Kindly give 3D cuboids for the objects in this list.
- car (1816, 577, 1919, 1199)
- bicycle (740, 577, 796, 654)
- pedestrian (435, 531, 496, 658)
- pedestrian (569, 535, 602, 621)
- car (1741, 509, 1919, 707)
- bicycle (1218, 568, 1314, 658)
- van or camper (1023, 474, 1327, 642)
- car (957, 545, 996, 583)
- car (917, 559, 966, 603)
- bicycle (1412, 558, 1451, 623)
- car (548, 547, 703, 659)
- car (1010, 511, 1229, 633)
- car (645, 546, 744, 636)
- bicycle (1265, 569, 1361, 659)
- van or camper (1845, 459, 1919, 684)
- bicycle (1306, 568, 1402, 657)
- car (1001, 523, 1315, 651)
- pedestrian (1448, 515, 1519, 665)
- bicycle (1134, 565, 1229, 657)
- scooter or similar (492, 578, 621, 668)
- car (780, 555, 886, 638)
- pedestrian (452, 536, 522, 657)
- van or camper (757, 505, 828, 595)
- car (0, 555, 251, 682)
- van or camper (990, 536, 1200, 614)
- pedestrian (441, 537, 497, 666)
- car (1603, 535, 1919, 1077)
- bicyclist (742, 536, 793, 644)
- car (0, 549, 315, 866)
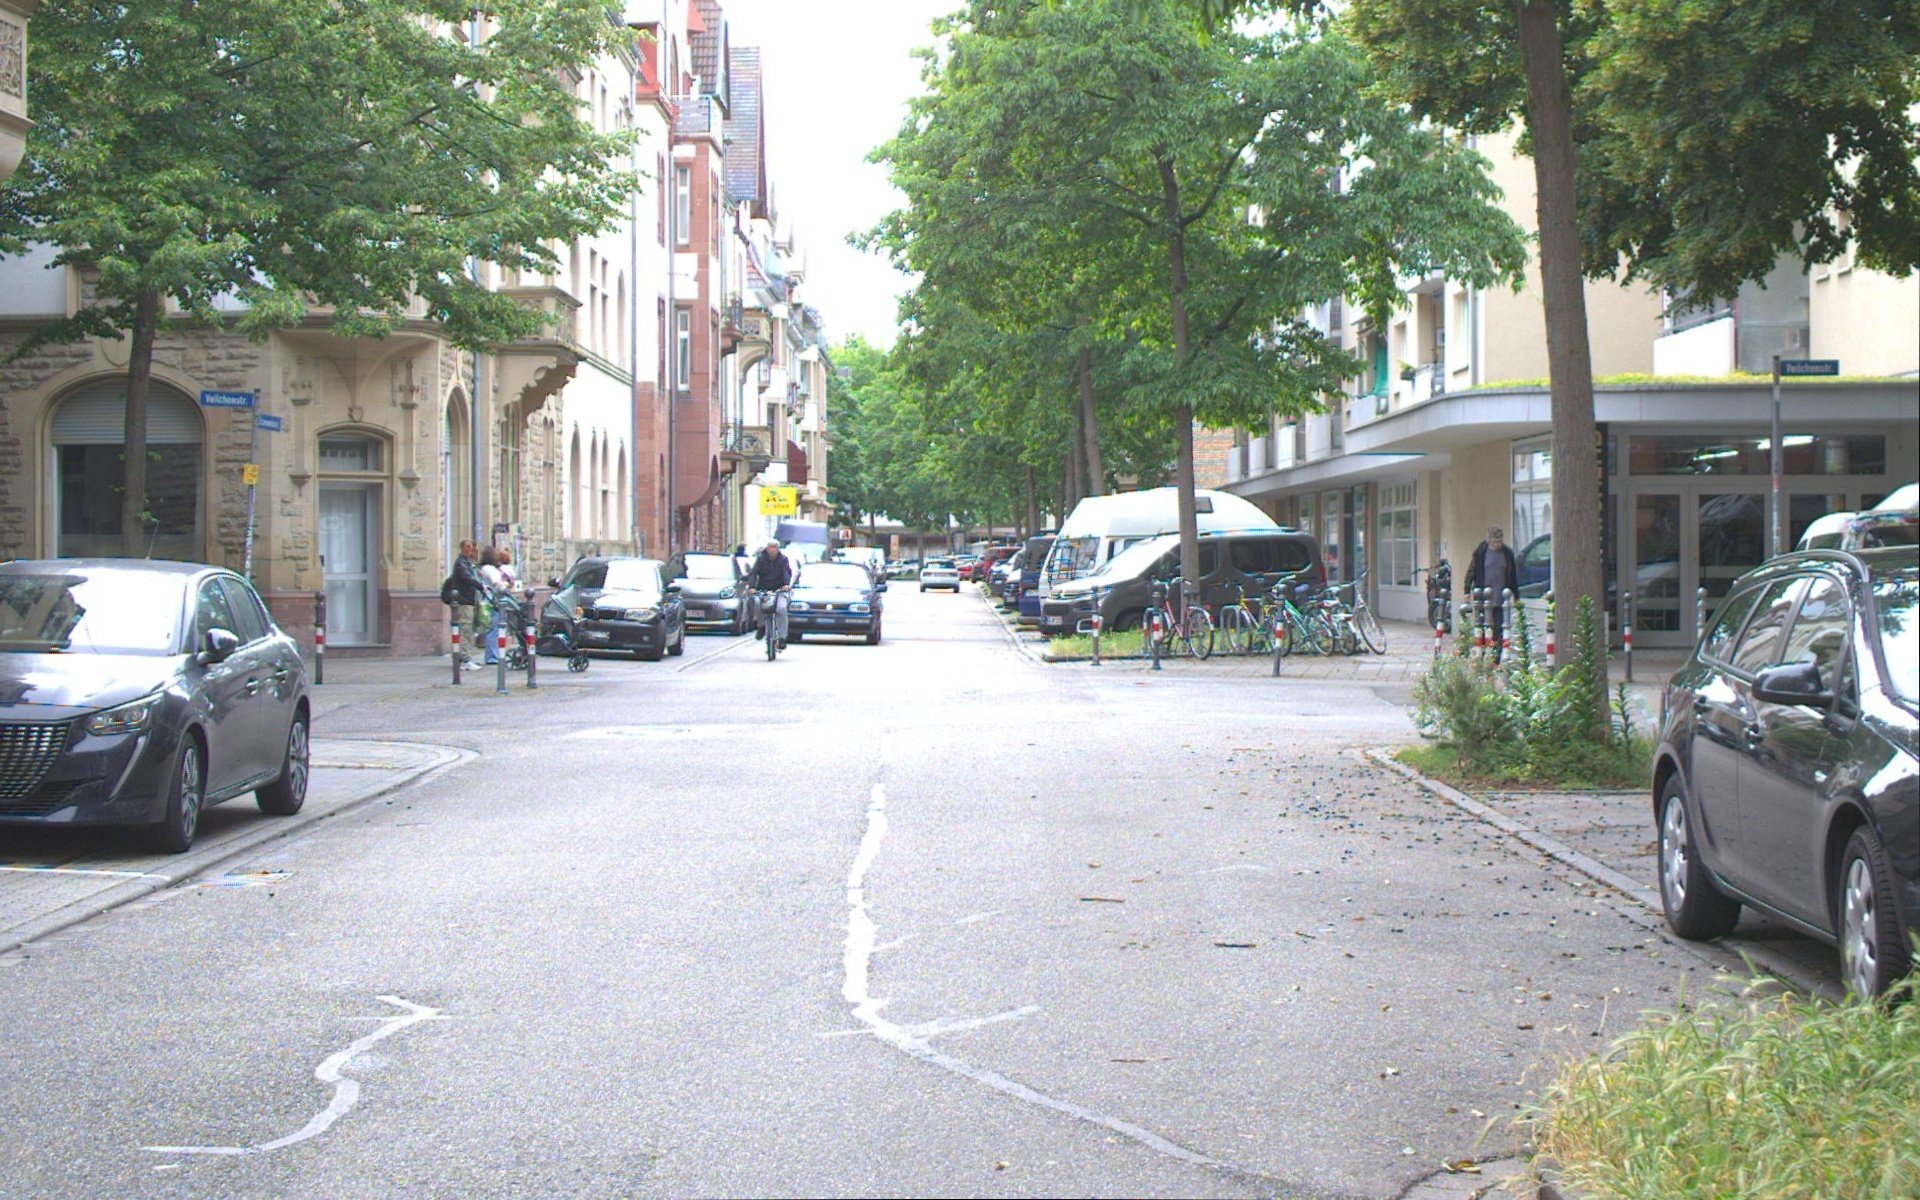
[{"bbox_3d":[3.371,0.588,4.881,4.432,1.422,1.758,-3,1,-37],"label":"car"},{"bbox_3d":[-2.762,0.212,49.573,0.634,1.090,1.799,0,0,2],"label":"bicycle"},{"bbox_3d":[-6.448,-0.080,44.854,0.616,1.637,0.603,1,1,12],"label":"pedestrian"},{"bbox_3d":[-6.583,-0.390,60.426,0.515,1.513,0.546,0,1,0],"label":"pedestrian"},{"bbox_3d":[8.869,0.042,33.470,1.770,1.813,4.000,0,1,2],"label":"car"},{"bbox_3d":[4.074,0.161,45.860,0.548,1.169,1.729,-1,1,-22],"label":"bicycle"},{"bbox_3d":[3.450,-0.691,54.908,4.582,2.587,1.911,-1,1,-32],"label":"van or camper"},{"bbox_3d":[0.920,-2.041,193.493,1.993,2.007,4.000,3,1,-1],"label":"car"},{"bbox_3d":[-0.782,-0.814,148.582,1.993,1.788,4.000,1,0,1],"label":"car"},{"bbox_3d":[8.027,-0.167,58.556,0.484,1.086,1.700,0,1,2],"label":"bicycle"},{"bbox_3d":[-4.746,0.053,49.214,1.709,1.489,4.000,1,0,1],"label":"car"},{"bbox_3d":[2.998,-0.541,63.696,2.064,2.189,4.390,0,1,34],"label":"car"},{"bbox_3d":[-4.939,-0.190,64.220,1.646,1.565,2.957,1,2,-1],"label":"car"},{"bbox_3d":[4.722,0.178,46.085,0.548,1.169,1.729,-1,1,-22],"label":"bicycle"},{"bbox_3d":[13.289,-0.366,39.538,5.772,2.485,2.136,0,4,7],"label":"van or camper"},{"bbox_3d":[5.307,0.160,46.393,0.548,1.169,1.698,-1,1,-22],"label":"bicycle"},{"bbox_3d":[2.988,-0.226,51.937,4.331,1.847,1.911,-1,1,-25],"label":"car"},{"bbox_3d":[6.329,-0.123,41.589,0.779,1.791,0.509,1,1,2],"label":"pedestrian"},{"bbox_3d":[2.902,0.129,45.205,0.548,1.169,1.729,-1,1,-22],"label":"bicycle"},{"bbox_3d":[-5.203,0.291,44.350,1.470,1.100,0.675,2,1,12],"label":"scooter or similar"},{"bbox_3d":[-2.205,-0.051,60.500,1.708,1.408,3.852,-1,0,0],"label":"car"},{"bbox_3d":[-6.281,-0.047,45.645,0.631,1.588,0.668,1,1,41],"label":"pedestrian"},{"bbox_3d":[-5.341,-1.646,110.236,2.008,2.642,5.317,0,3,0],"label":"van or camper"},{"bbox_3d":[-10.891,0.228,43.026,3.570,1.455,1.649,-1,3,9],"label":"car"},{"bbox_3d":[3.511,-0.660,89.332,5.005,1.863,2.127,-2,1,-27],"label":"van or camper"},{"bbox_3d":[-6.318,0.015,44.236,0.528,1.637,0.528,2,1,12],"label":"pedestrian"},{"bbox_3d":[3.522,0.524,11.718,1.764,1.481,4.480,-2,1,0],"label":"car"},{"bbox_3d":[-2.767,-0.148,49.557,0.648,1.533,0.677,-1,1,2],"label":"bicyclist"},{"bbox_3d":[-4.668,0.479,18.211,1.727,1.429,3.882,1,1,0],"label":"car"}]
